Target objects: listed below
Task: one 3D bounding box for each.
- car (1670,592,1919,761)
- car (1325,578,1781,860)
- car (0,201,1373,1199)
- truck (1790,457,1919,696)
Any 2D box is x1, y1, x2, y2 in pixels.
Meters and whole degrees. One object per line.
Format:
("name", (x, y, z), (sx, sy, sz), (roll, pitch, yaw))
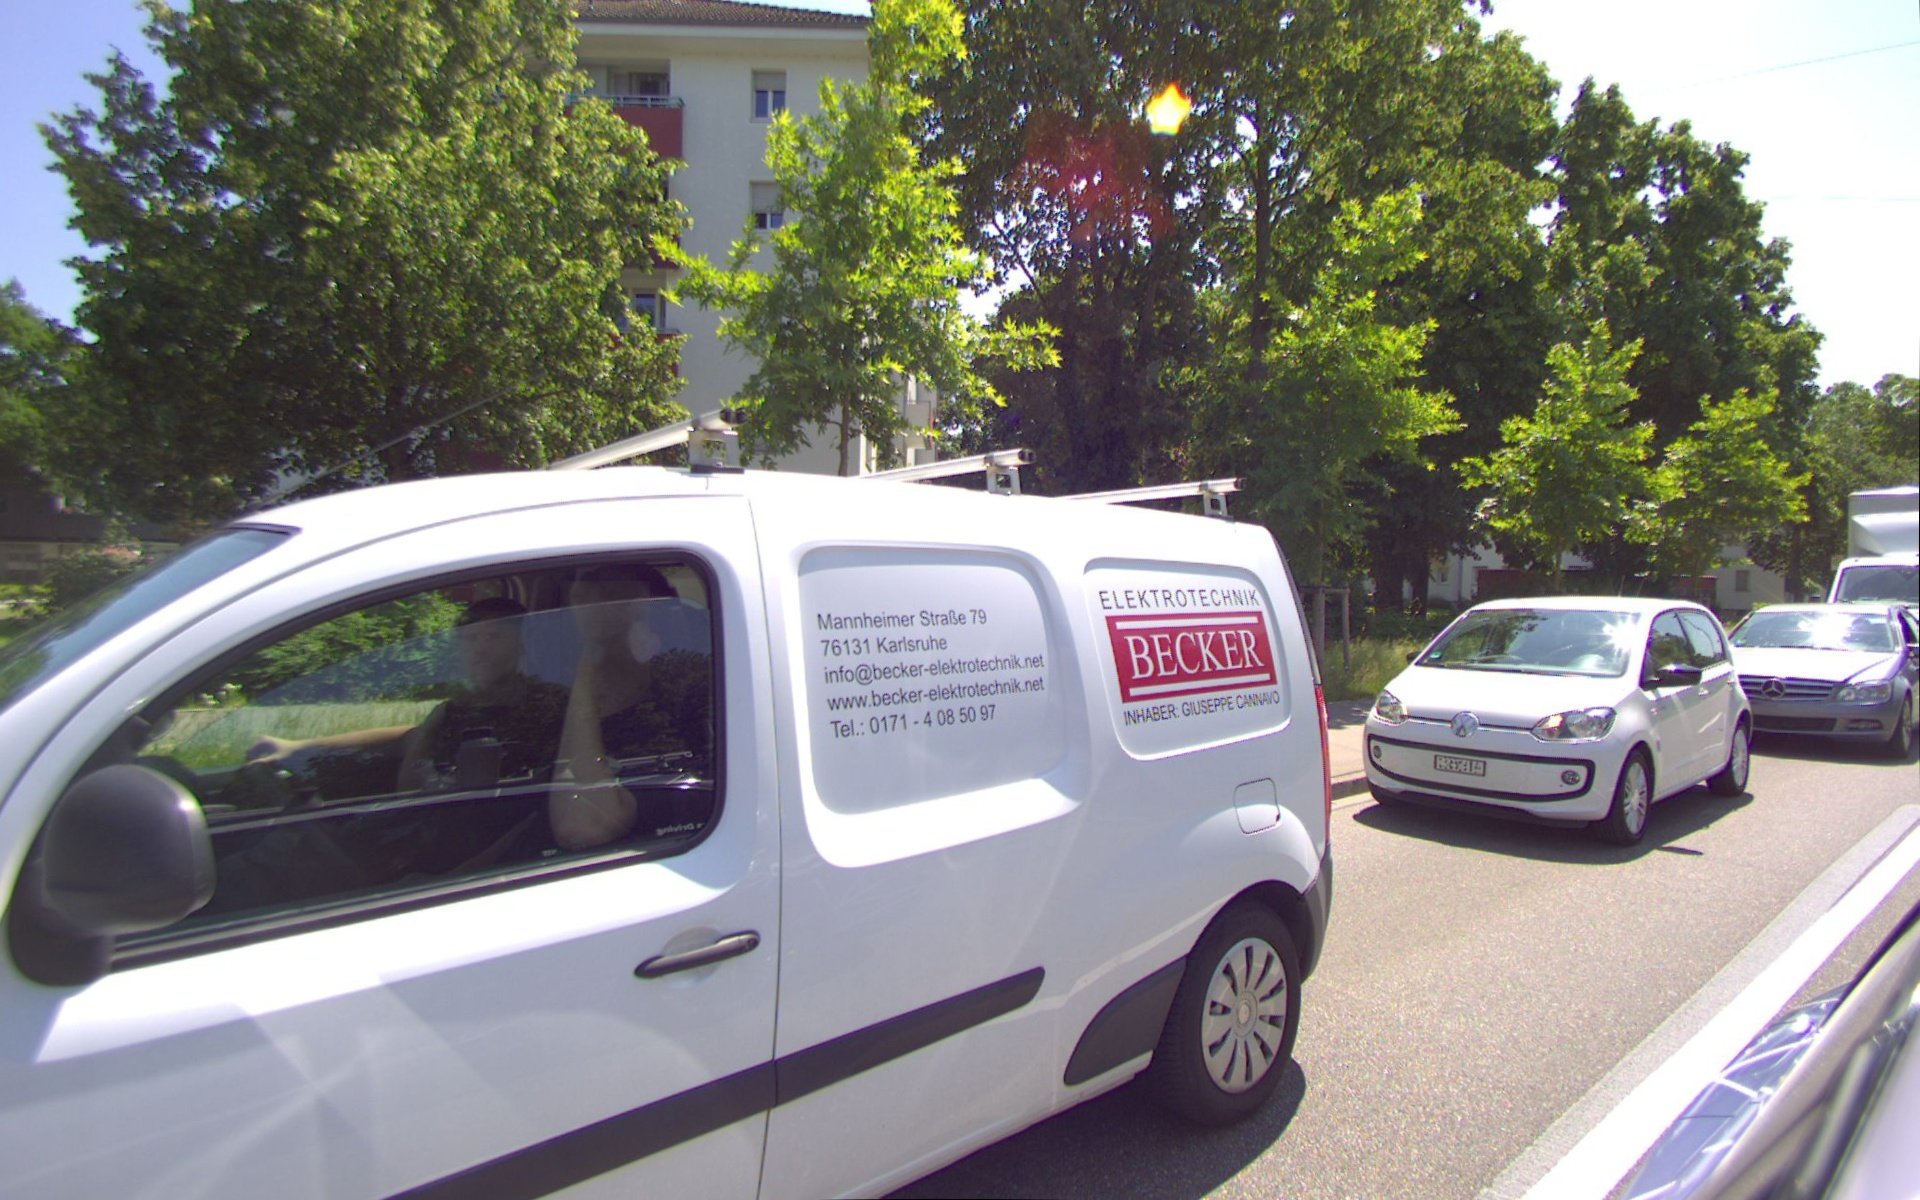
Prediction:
("car", (9.231, 0.650, 10.742), (4.016, 1.426, 1.839), (0, 1, -41))
("car", (4.397, 0.617, 7.292), (3.705, 1.497, 1.729), (0, 1, -41))
("car", (-0.996, 0.451, 2.538), (4.370, 1.849, 1.997), (0, 1, -41))
("truck", (16.514, -0.343, 16.977), (7.778, 3.387, 2.434), (0, 1, -39))
